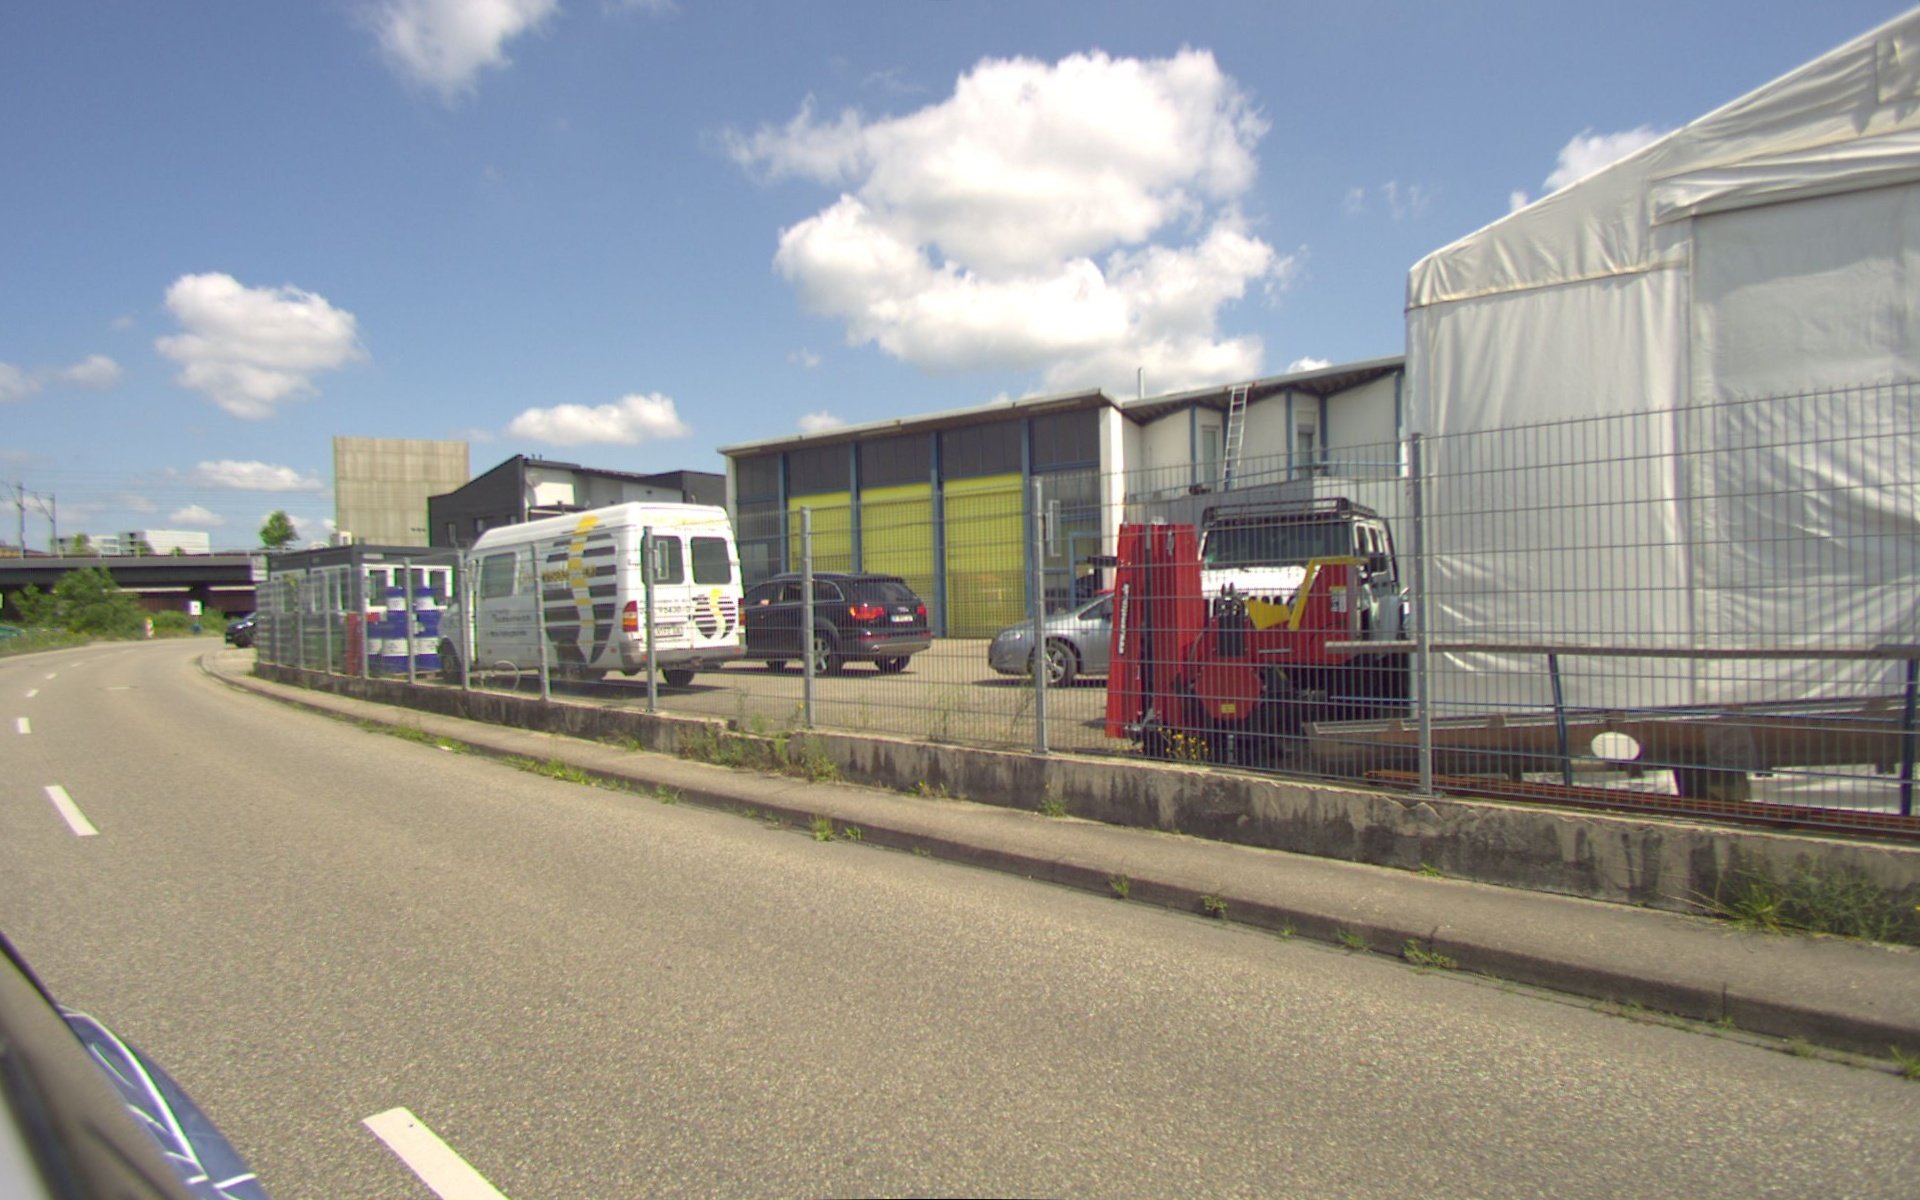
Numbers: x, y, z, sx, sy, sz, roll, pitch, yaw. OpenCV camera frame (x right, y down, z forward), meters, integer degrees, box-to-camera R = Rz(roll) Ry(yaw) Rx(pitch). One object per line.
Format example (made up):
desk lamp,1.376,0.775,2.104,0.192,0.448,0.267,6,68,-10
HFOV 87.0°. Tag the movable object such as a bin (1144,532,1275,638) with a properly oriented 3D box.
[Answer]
movable object such as a bin,5.386,-0.317,22.045,1.609,2.121,2.384,-3,1,-22

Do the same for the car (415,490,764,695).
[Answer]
car,-5.965,-0.036,15.605,6.714,2.556,2.097,-2,-1,42

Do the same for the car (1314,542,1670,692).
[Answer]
car,7.403,0.191,14.148,4.339,1.846,2.006,-1,0,-21

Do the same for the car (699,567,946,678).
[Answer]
car,-2.418,0.376,17.373,3.993,1.680,1.959,-1,-1,37

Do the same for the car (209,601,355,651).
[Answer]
car,-31.554,1.148,47.274,1.994,1.930,5.284,-1,2,33

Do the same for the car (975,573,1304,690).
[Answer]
car,2.387,0.409,14.169,4.211,1.440,1.920,-1,1,6

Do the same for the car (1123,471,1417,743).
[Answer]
car,3.320,0.063,10.112,2.049,2.042,4.528,-1,0,27

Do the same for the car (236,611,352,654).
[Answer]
car,-27.527,1.310,41.958,1.783,1.487,3.673,-2,1,18
